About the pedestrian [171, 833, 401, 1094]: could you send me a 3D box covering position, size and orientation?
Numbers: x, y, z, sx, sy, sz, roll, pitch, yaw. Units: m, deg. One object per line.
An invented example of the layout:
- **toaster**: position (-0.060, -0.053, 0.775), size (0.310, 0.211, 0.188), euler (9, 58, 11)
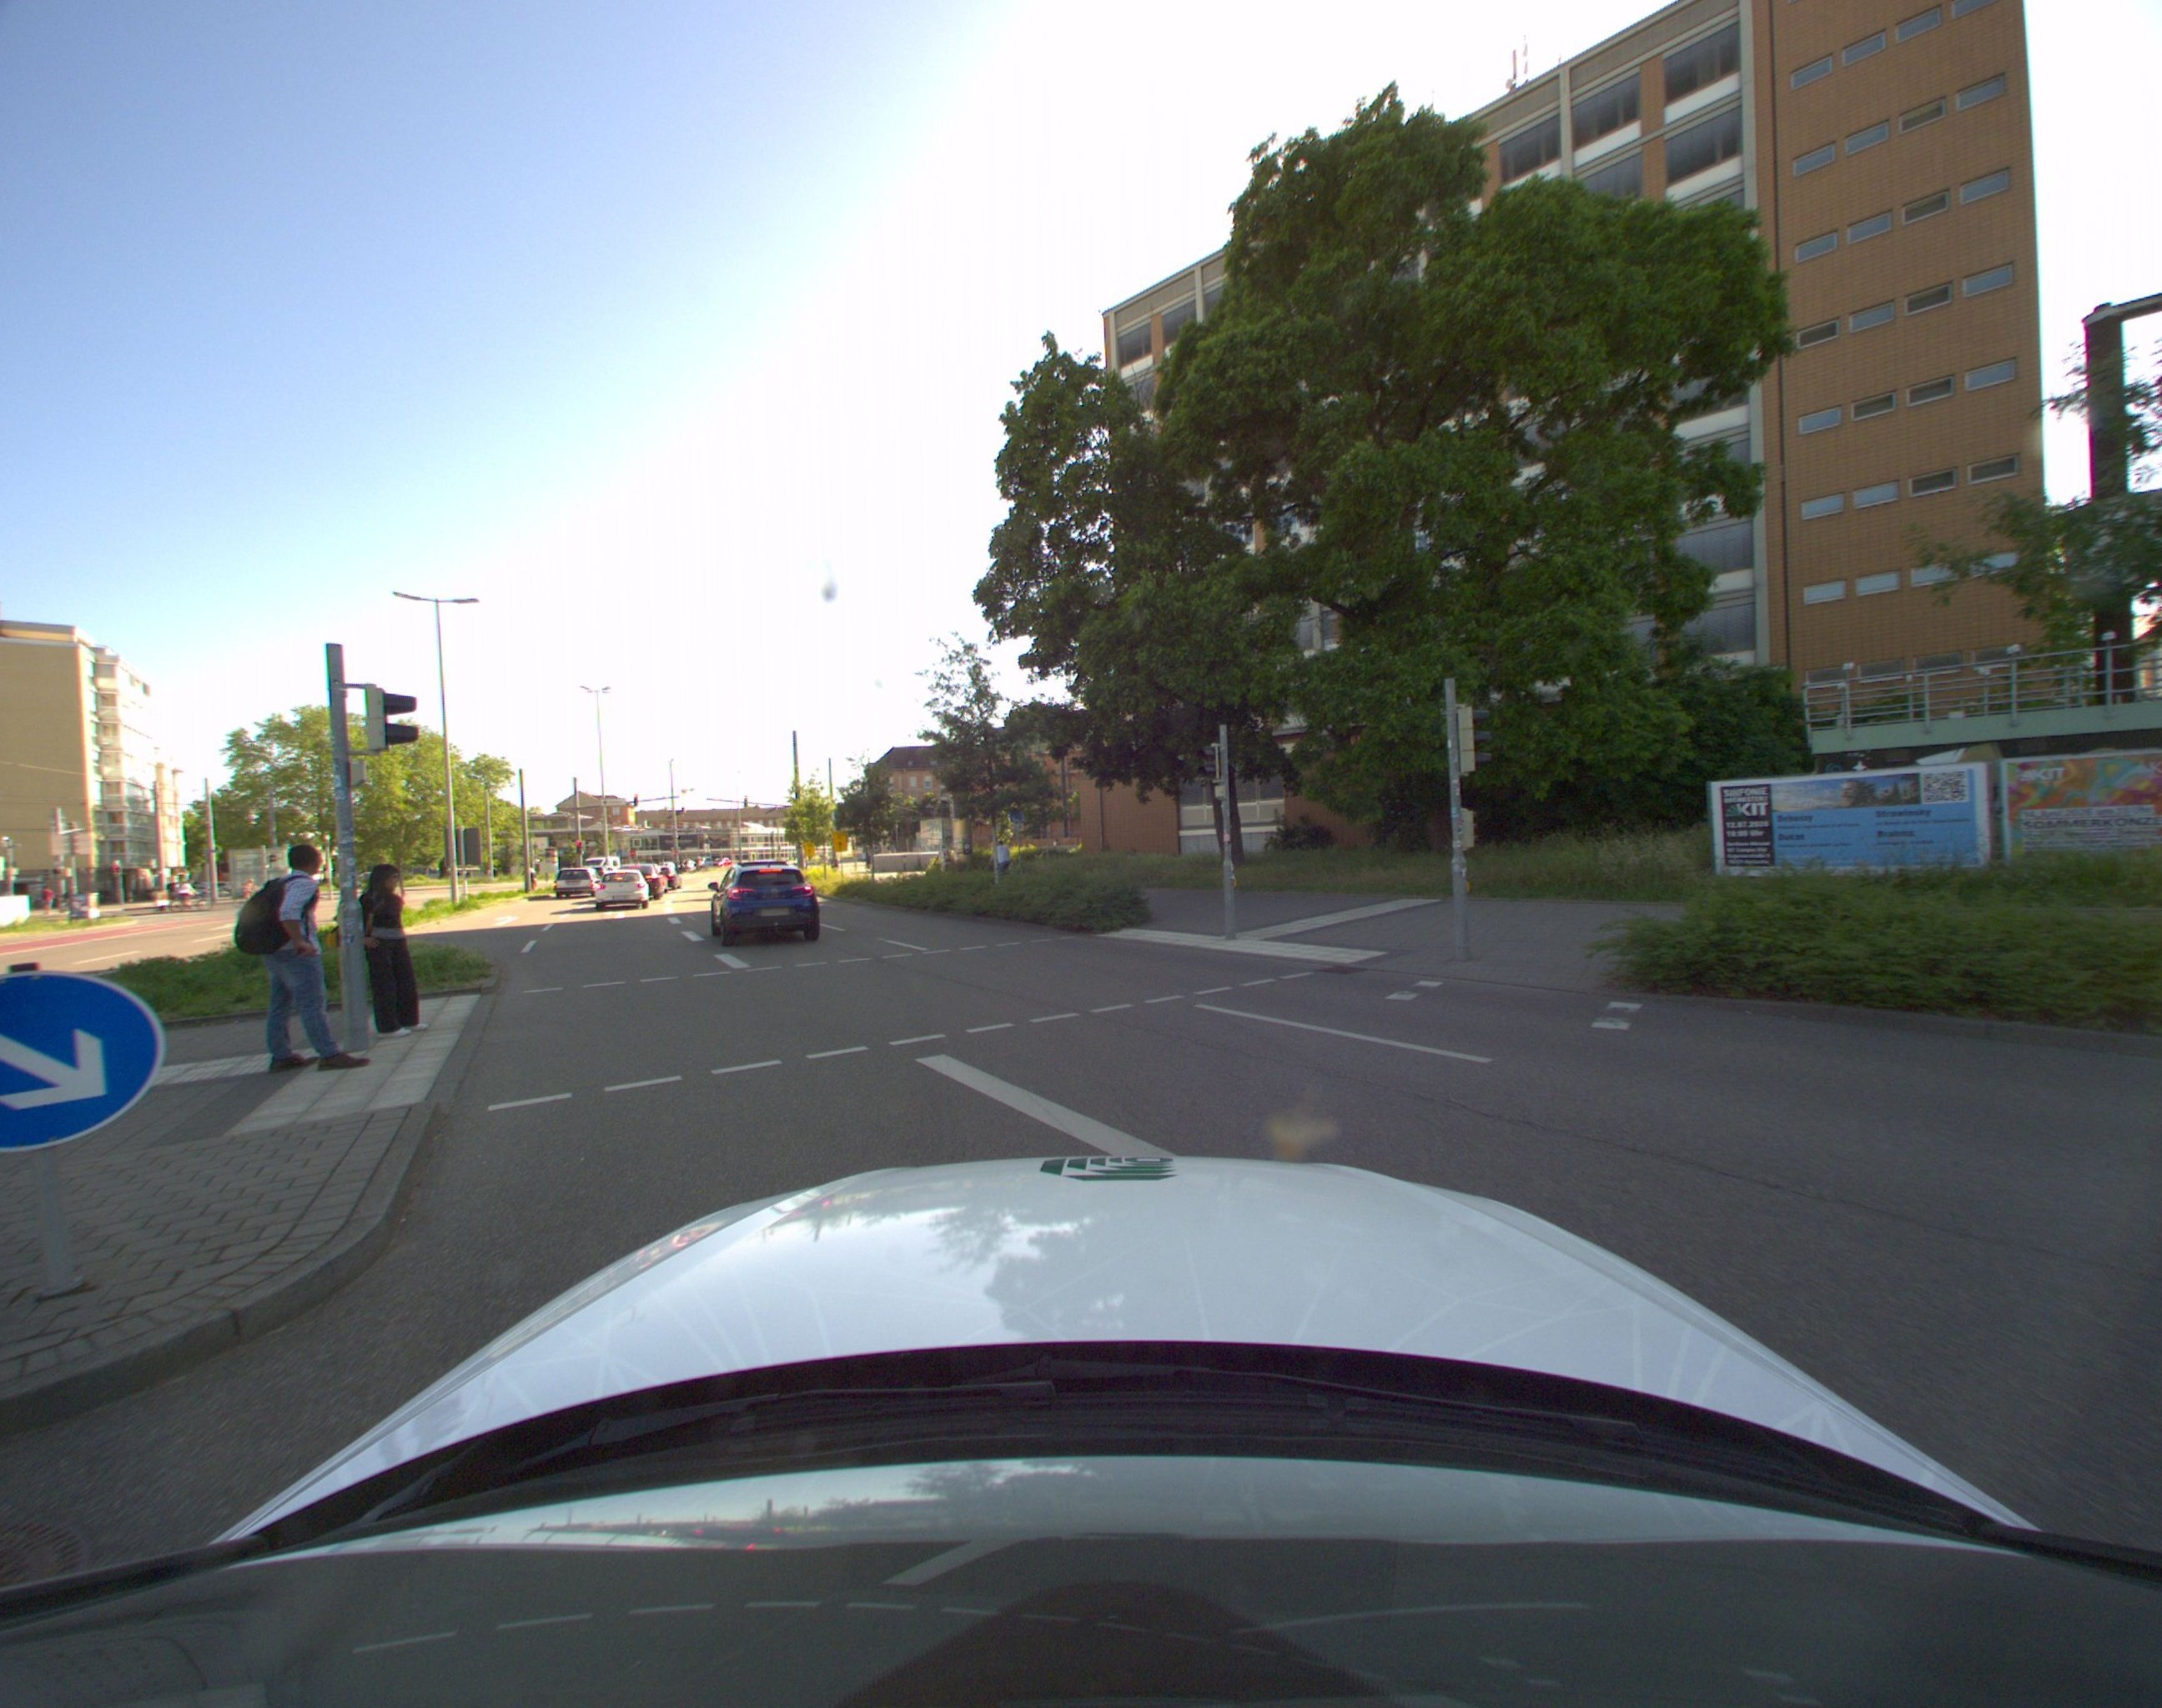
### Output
- **pedestrian**: position (-6.200, 0.770, 6.392), size (0.746, 1.832, 1.102), euler (-2, 0, 31)

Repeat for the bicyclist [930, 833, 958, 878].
- **bicyclist**: position (-5.427, 0.056, 32.299), size (0.724, 1.762, 0.968), euler (-3, 1, -31)

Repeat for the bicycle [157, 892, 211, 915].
- **bicycle**: position (-51.694, 2.853, 46.964), size (1.960, 1.165, 0.638), euler (-2, 0, -26)

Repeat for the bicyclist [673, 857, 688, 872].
- **bicyclist**: position (-47.800, 1.233, 97.200), size (0.935, 1.776, 1.195), euler (1, 3, 42)

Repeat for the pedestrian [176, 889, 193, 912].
- **pedestrian**: position (-55.789, 2.886, 50.690), size (0.561, 1.408, 0.599), euler (0, 3, 33)

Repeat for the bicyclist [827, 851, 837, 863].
- **bicyclist**: position (-35.353, 0.435, 115.708), size (1.072, 1.584, 0.936), euler (-3, 3, -40)

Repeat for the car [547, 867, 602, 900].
- **car**: position (-25.096, 1.417, 40.440), size (1.733, 1.442, 3.768), euler (-3, 1, -24)

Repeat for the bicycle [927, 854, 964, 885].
- **bicycle**: position (-5.391, 0.604, 32.296), size (0.751, 1.165, 1.852), euler (-3, 1, -31)

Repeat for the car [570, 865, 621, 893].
- **car**: position (-27.840, 1.401, 46.784), size (1.730, 1.442, 3.885), euler (-1, 0, -19)

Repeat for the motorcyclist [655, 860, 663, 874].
- **motorcyclist**: position (-52.918, 1.623, 102.162), size (0.549, 1.621, 0.742), euler (-3, 0, -9)

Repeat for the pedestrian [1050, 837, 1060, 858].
- **pedestrian**: position (-2.163, -0.565, 67.886), size (0.782, 1.752, 0.539), euler (-1, 2, 5)

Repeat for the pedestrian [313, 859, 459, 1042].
- **pedestrian**: position (-6.508, 0.878, 7.654), size (0.675, 1.612, 0.721), euler (-2, 0, 11)

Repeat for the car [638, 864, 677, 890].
- **car**: position (-25.037, 1.344, 48.247), size (1.732, 1.442, 3.770), euler (-1, 0, -22)

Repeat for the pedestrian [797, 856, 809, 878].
- **pedestrian**: position (-22.086, 1.029, 64.697), size (0.591, 1.723, 0.871), euler (-3, -2, 3)

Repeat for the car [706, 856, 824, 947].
- **car**: position (-6.656, 0.916, 16.924), size (1.887, 1.617, 3.763), euler (-2, -1, -27)

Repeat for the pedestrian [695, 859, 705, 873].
- **pedestrian**: position (-48.085, 1.499, 102.706), size (0.697, 1.610, 0.854), euler (-1, 2, 8)

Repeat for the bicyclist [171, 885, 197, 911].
- **bicyclist**: position (-51.731, 2.518, 46.949), size (0.778, 1.444, 0.638), euler (-2, 0, -25)

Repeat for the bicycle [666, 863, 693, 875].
- **bicycle**: position (-47.891, 1.768, 97.089), size (0.935, 1.188, 2.672), euler (1, 3, 42)

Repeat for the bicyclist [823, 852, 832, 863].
- **bicyclist**: position (-34.415, 0.507, 110.427), size (0.967, 1.449, 0.960), euler (-3, 0, -28)

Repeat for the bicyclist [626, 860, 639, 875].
- **bicyclist**: position (-52.012, 1.551, 94.438), size (1.072, 1.584, 0.936), euler (-3, 3, -40)

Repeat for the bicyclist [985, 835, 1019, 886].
- **bicyclist**: position (-2.636, 0.210, 27.229), size (0.724, 1.616, 0.968), euler (-3, 1, -30)

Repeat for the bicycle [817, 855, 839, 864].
- **bicycle**: position (-34.349, 0.805, 110.458), size (2.659, 1.095, 0.960), euler (-3, 1, -29)

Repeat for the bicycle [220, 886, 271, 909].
- **bicycle**: position (-48.834, 2.536, 47.627), size (1.960, 1.165, 0.638), euler (-2, 0, -26)

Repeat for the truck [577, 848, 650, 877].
- **truck**: position (-40.202, 0.671, 70.287), size (2.207, 2.313, 6.884), euler (-2, 1, 0)

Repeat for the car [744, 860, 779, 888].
- **car**: position (-19.608, 1.213, 50.129), size (1.883, 1.617, 3.600), euler (-1, 0, -21)

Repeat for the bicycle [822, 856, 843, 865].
- **bicycle**: position (-35.309, 0.878, 115.767), size (2.669, 1.188, 0.936), euler (-3, 3, -41)

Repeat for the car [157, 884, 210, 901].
- **car**: position (-88.247, 3.762, 80.122), size (3.292, 1.316, 1.507), euler (-3, 3, -43)

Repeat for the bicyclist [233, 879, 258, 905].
- **bicyclist**: position (-48.843, 2.217, 47.616), size (0.778, 1.444, 0.638), euler (-2, 0, -24)

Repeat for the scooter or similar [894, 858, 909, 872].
- **scooter or similar**: position (-13.570, 0.817, 61.525), size (0.471, 1.012, 1.234), euler (-3, 3, -45)

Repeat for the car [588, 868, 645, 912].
- **car**: position (-17.210, 1.290, 30.299), size (1.701, 1.435, 3.702), euler (-3, 1, -28)

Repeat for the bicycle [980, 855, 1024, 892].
- **bicycle**: position (-2.670, 0.634, 27.319), size (0.721, 1.165, 1.852), euler (-3, 1, -30)

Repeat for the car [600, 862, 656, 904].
- **car**: position (-20.400, 1.249, 36.836), size (1.995, 1.623, 4.339), euler (-4, 1, -27)

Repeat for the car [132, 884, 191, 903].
- **car**: position (-86.125, 3.722, 76.309), size (3.463, 1.510, 1.672), euler (-3, 1, -43)
